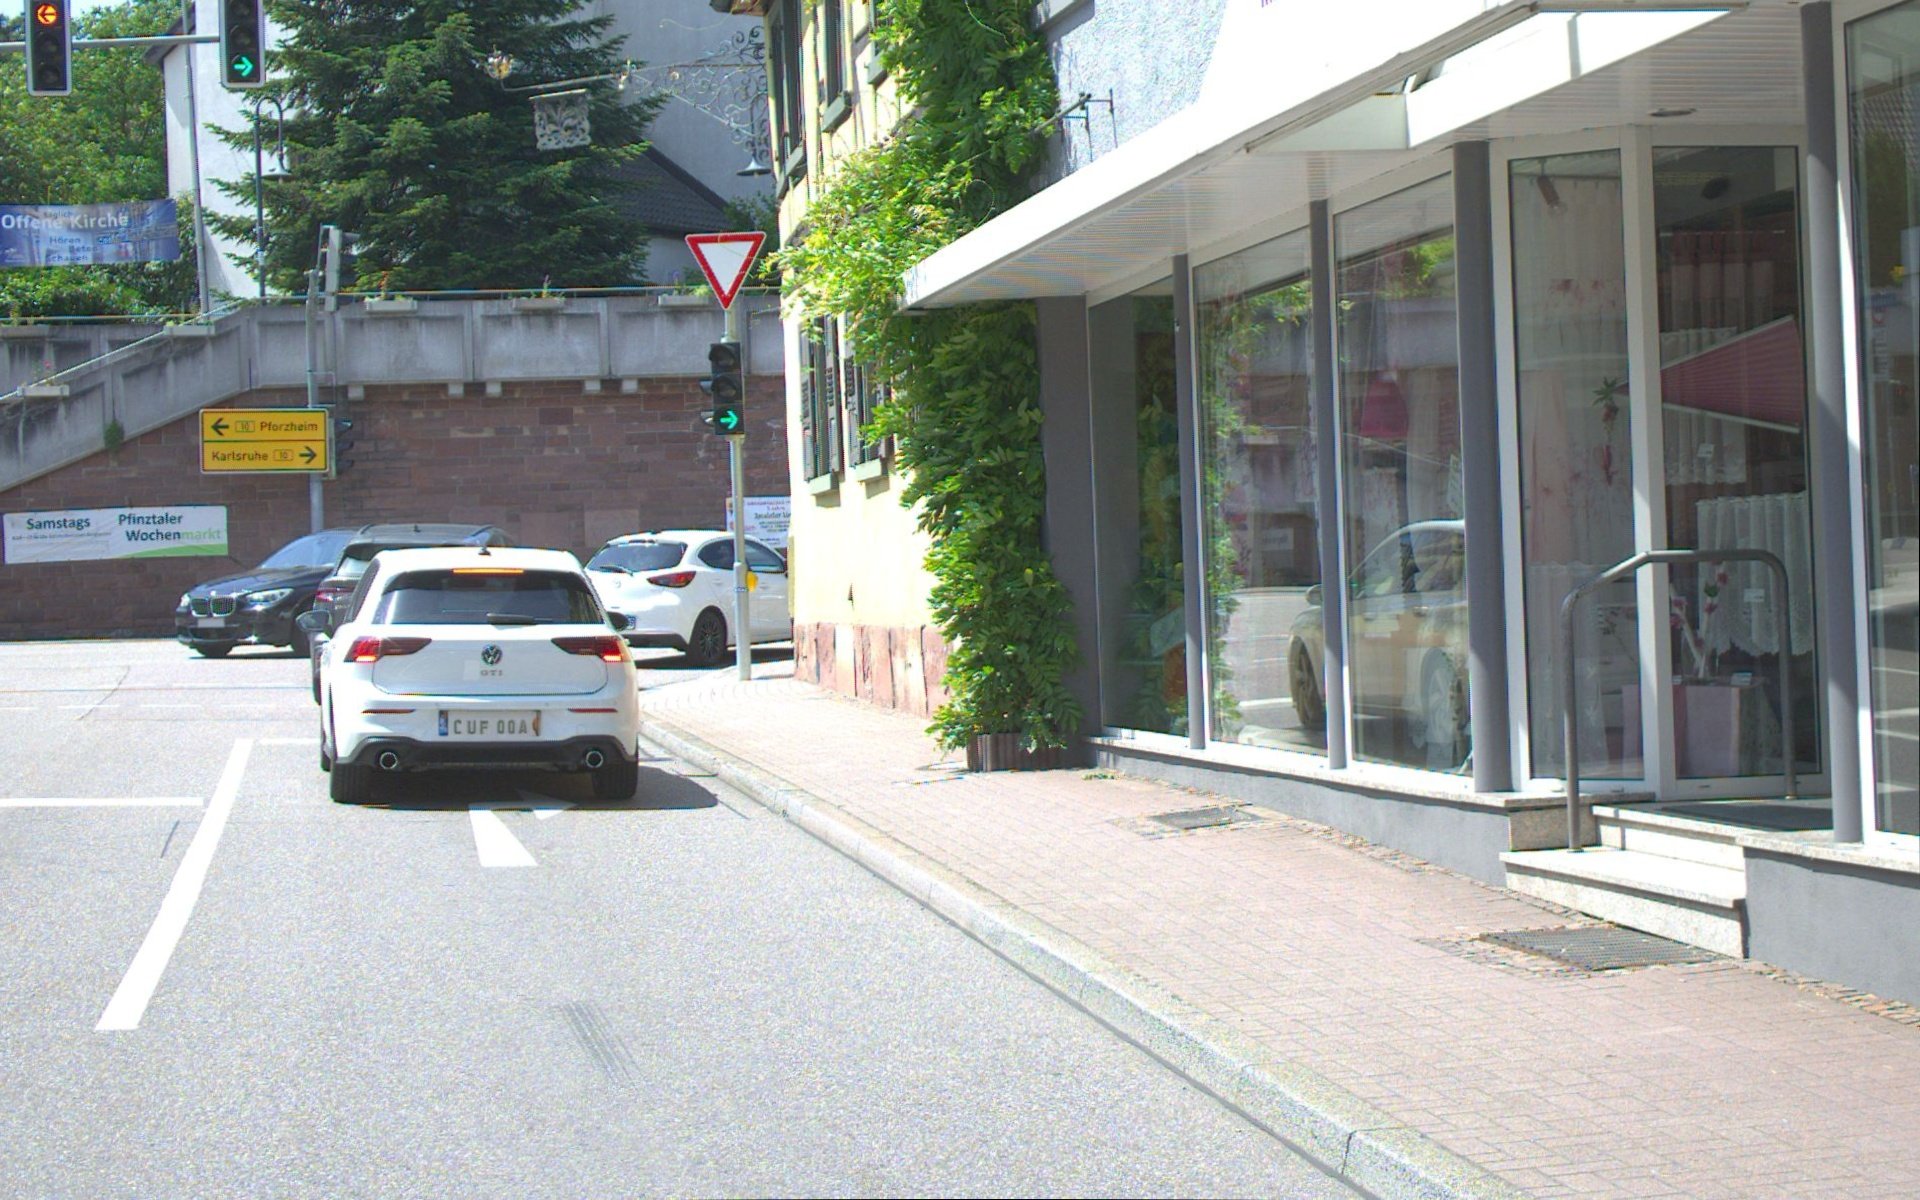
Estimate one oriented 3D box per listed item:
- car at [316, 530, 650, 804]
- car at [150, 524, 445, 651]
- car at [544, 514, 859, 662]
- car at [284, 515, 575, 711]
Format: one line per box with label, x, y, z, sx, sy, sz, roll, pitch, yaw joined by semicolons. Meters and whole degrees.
car;-2.930;0.342;20.777;1.782;1.453;3.864;-1;1;-10
car;-8.162;-0.196;42.815;1.798;1.482;4.794;0;1;13
car;-2.869;-0.184;39.008;1.773;1.491;3.982;1;3;26
car;-4.814;0.059;31.808;1.949;1.577;4.326;-1;3;1
